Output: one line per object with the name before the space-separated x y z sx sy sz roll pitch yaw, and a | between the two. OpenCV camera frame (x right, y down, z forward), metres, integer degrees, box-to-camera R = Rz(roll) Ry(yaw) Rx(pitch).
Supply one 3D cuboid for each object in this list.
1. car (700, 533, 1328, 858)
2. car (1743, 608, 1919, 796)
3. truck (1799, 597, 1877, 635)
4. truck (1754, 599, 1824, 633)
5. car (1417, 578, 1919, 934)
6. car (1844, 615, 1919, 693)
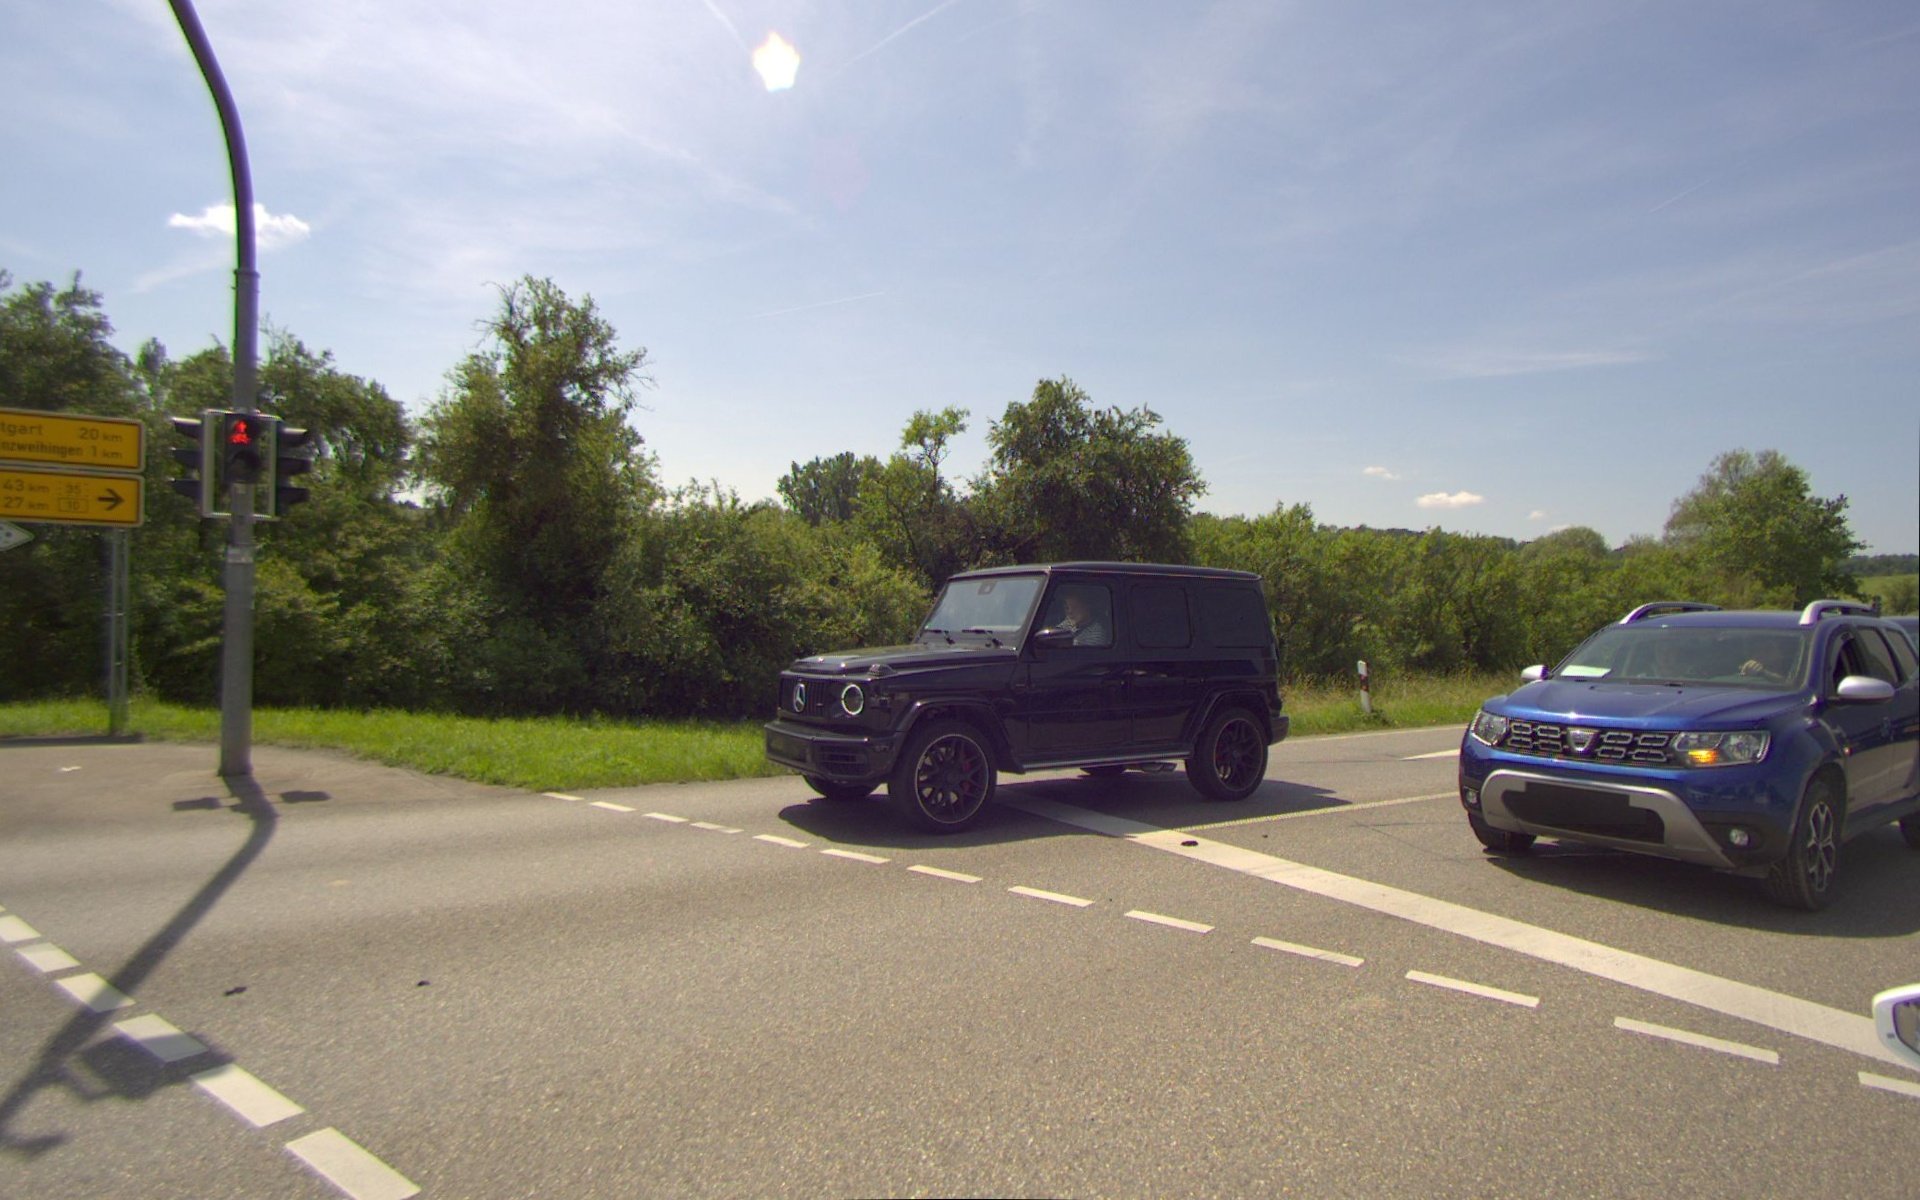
car | 0.625 0.670 8.502 5.107 2.032 1.983 2 -1 -32
car | 9.926 0.970 10.481 3.962 1.680 1.759 2 -2 -36
truck | 107.533 2.053 123.308 3.580 4.183 13.088 2 -1 25
truck | 113.823 2.278 138.227 3.472 4.296 13.402 2 -1 22
car | 4.949 0.801 6.621 3.960 1.680 1.760 2 -1 -35
car | 22.592 1.261 23.481 3.959 1.718 1.981 2 -2 -34
